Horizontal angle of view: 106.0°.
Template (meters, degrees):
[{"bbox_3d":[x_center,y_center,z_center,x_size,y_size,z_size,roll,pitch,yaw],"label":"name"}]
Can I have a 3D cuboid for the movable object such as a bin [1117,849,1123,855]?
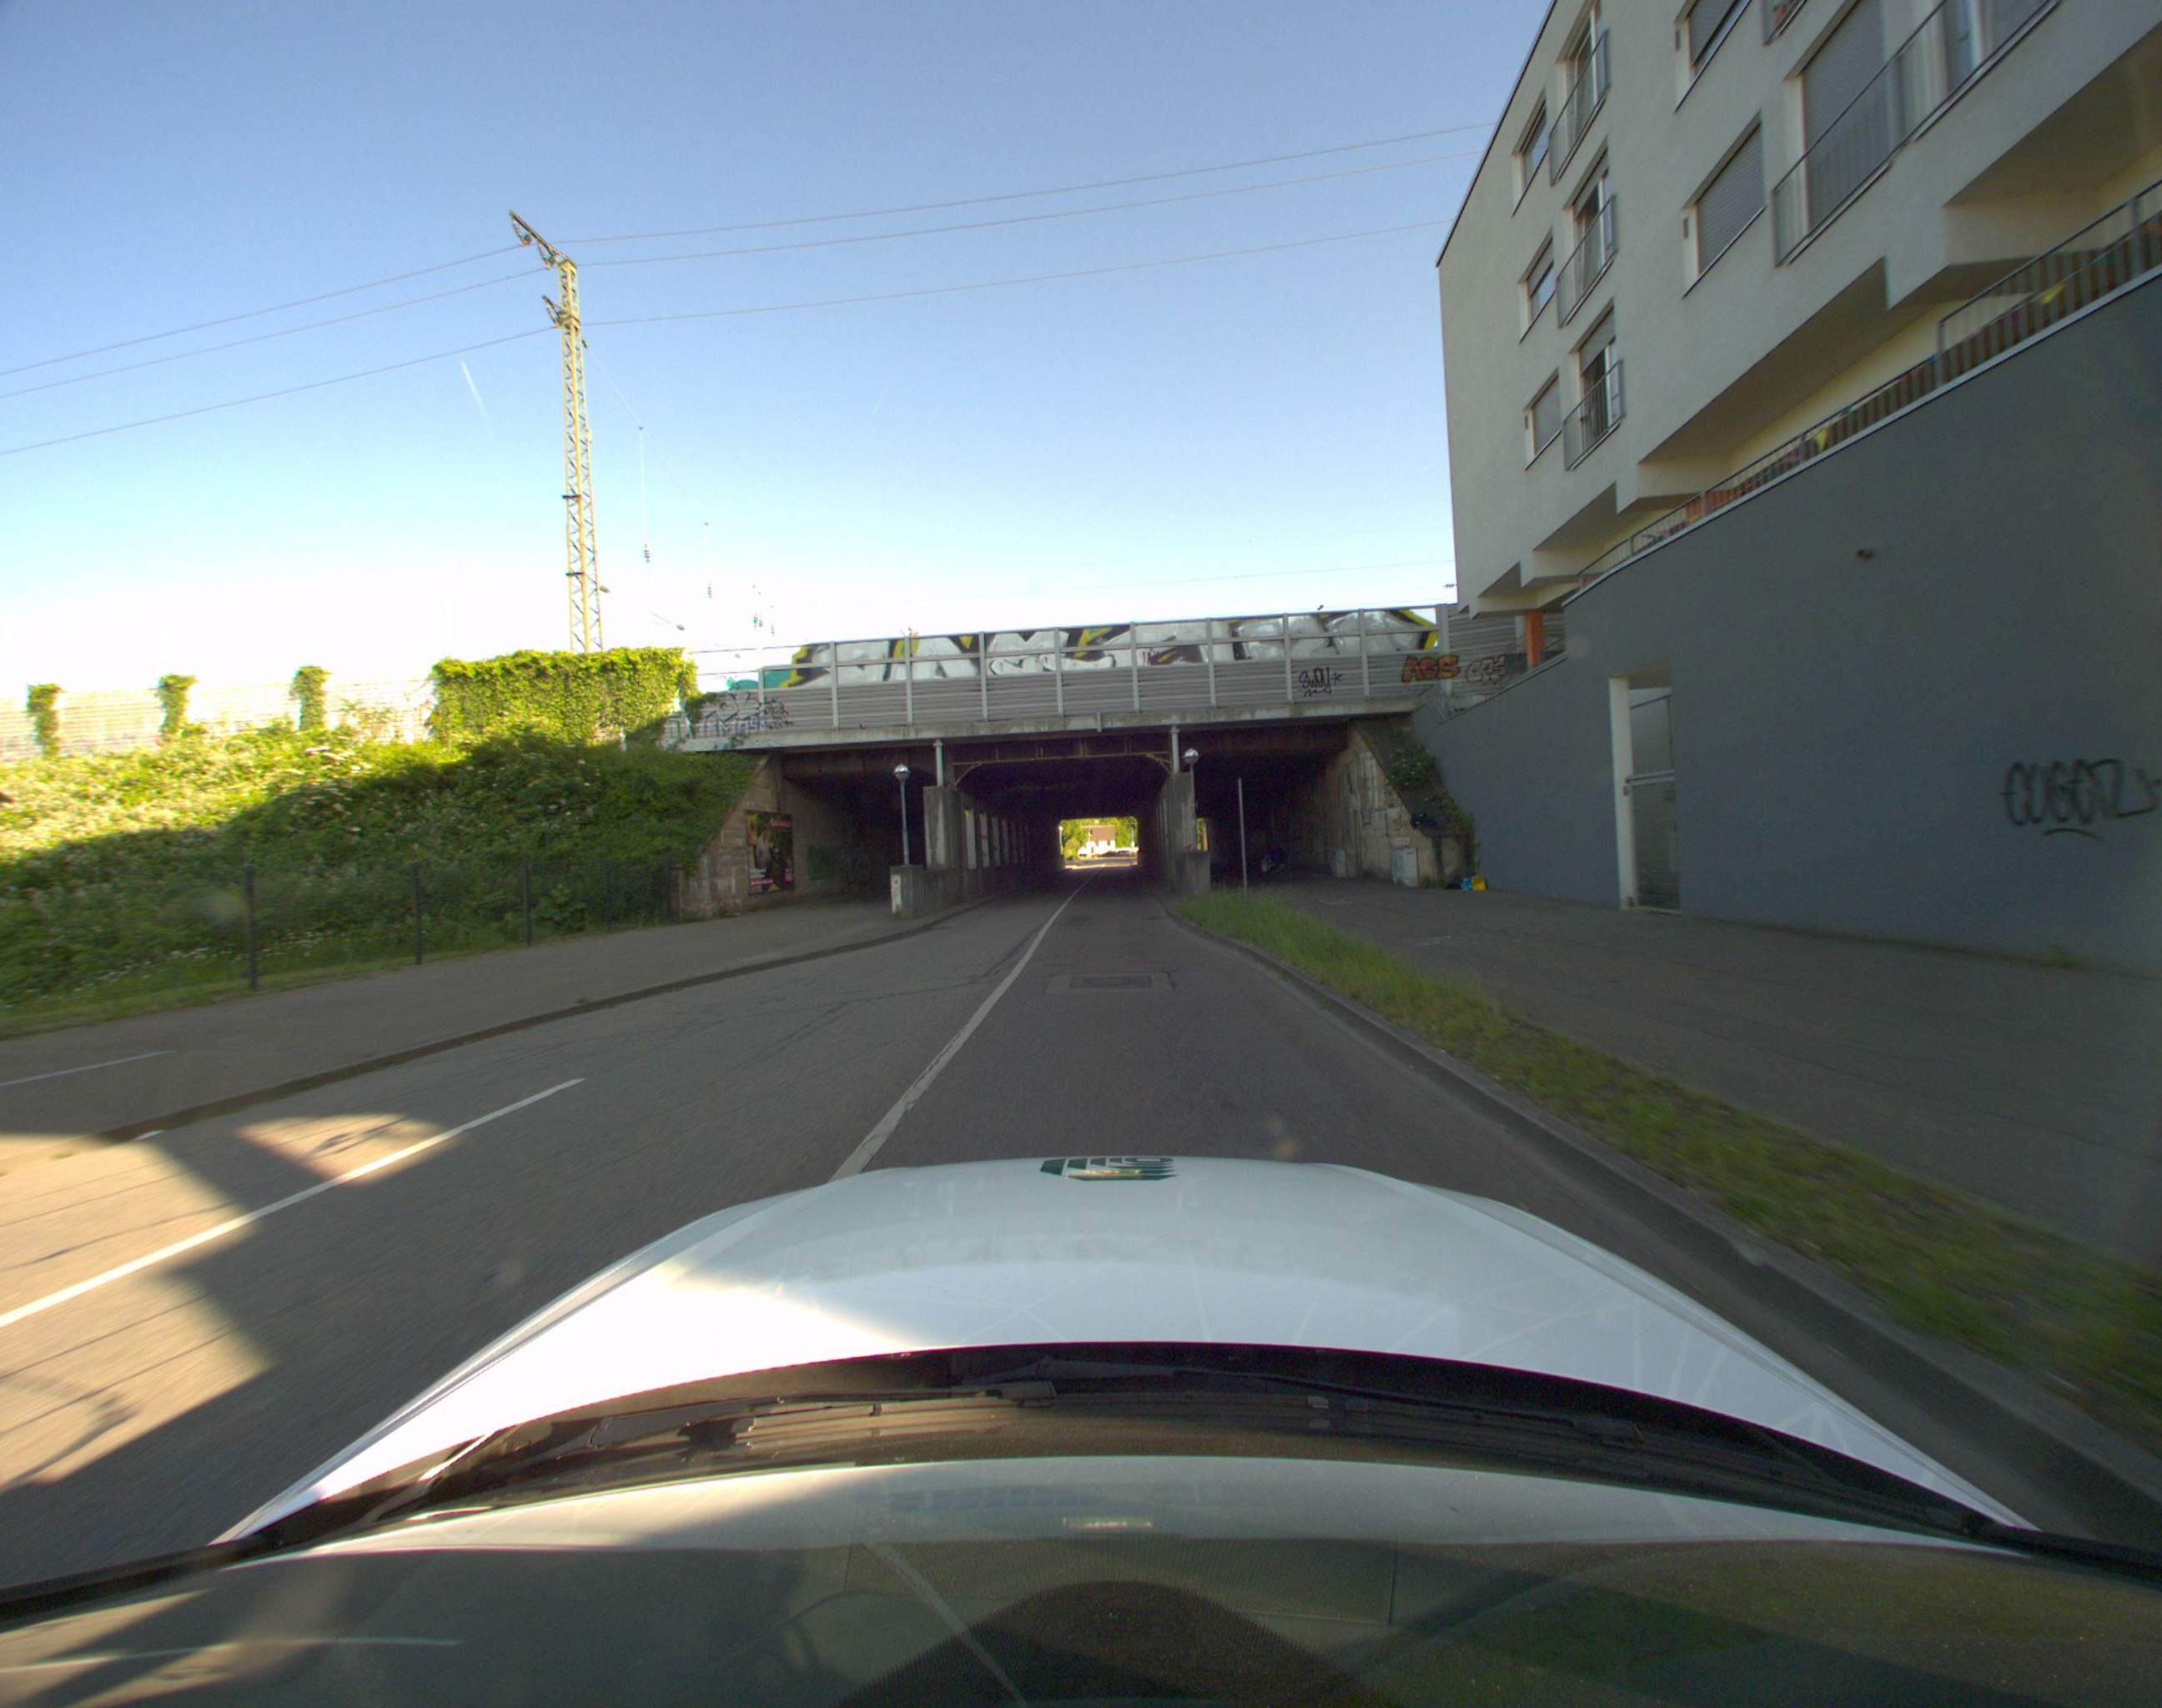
[{"bbox_3d":[9.543,-0.389,199.234,1.362,1.418,1.064,-1,-1,-5],"label":"movable object such as a bin"}]

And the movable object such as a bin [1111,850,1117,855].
[{"bbox_3d":[8.106,-0.371,199.094,1.362,1.418,1.064,-1,-1,-5],"label":"movable object such as a bin"}]
